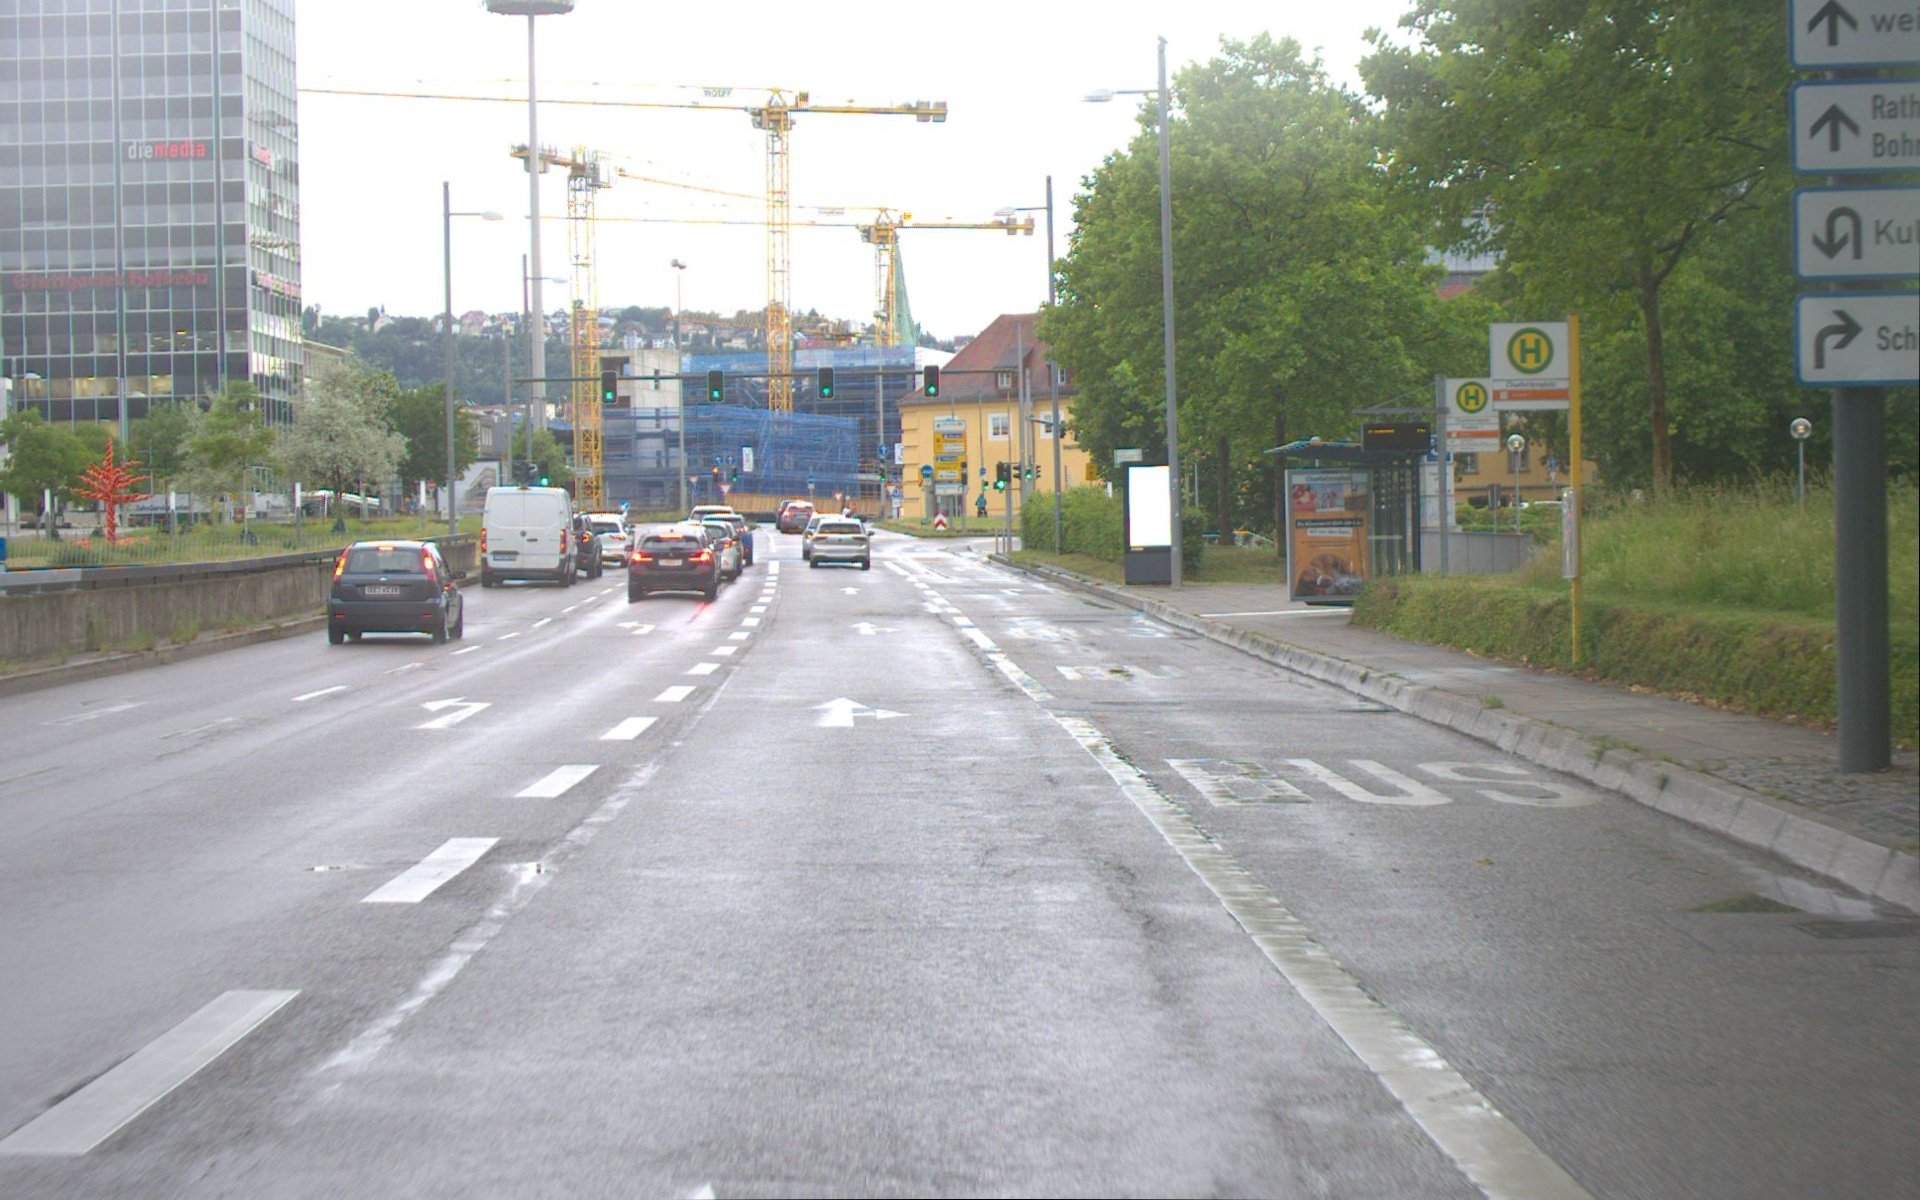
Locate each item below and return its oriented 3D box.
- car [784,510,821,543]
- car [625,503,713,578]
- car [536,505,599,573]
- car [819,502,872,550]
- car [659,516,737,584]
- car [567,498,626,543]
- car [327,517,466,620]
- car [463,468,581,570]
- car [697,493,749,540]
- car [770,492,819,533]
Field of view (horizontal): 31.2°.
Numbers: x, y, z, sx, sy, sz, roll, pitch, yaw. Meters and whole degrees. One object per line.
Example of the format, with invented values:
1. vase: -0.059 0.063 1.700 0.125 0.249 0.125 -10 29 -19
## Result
1. car: -5.059 -2.362 110.247 1.076 0.987 1.971 0 0 1
2. car: -6.041 -1.270 71.676 1.753 1.466 4.223 0 2 -4
3. car: -9.941 -1.531 87.228 1.464 1.700 3.142 0 0 -4
4. car: -3.315 -2.143 99.752 1.444 1.354 2.412 0 0 1
5. car: -6.556 -1.234 85.812 1.880 1.647 3.458 0 0 -5
6. car: -10.486 -2.295 99.334 1.551 1.256 2.581 0 0 -3
7. car: -8.033 -0.447 49.221 1.542 1.410 3.902 0 0 -3
8. car: -10.235 -1.870 80.697 2.292 2.306 5.006 0 0 -2
9. car: -7.067 -2.478 102.591 1.493 1.365 3.034 0 0 -3
10. car: -7.973 -4.200 165.754 2.161 1.873 3.770 0 0 1
